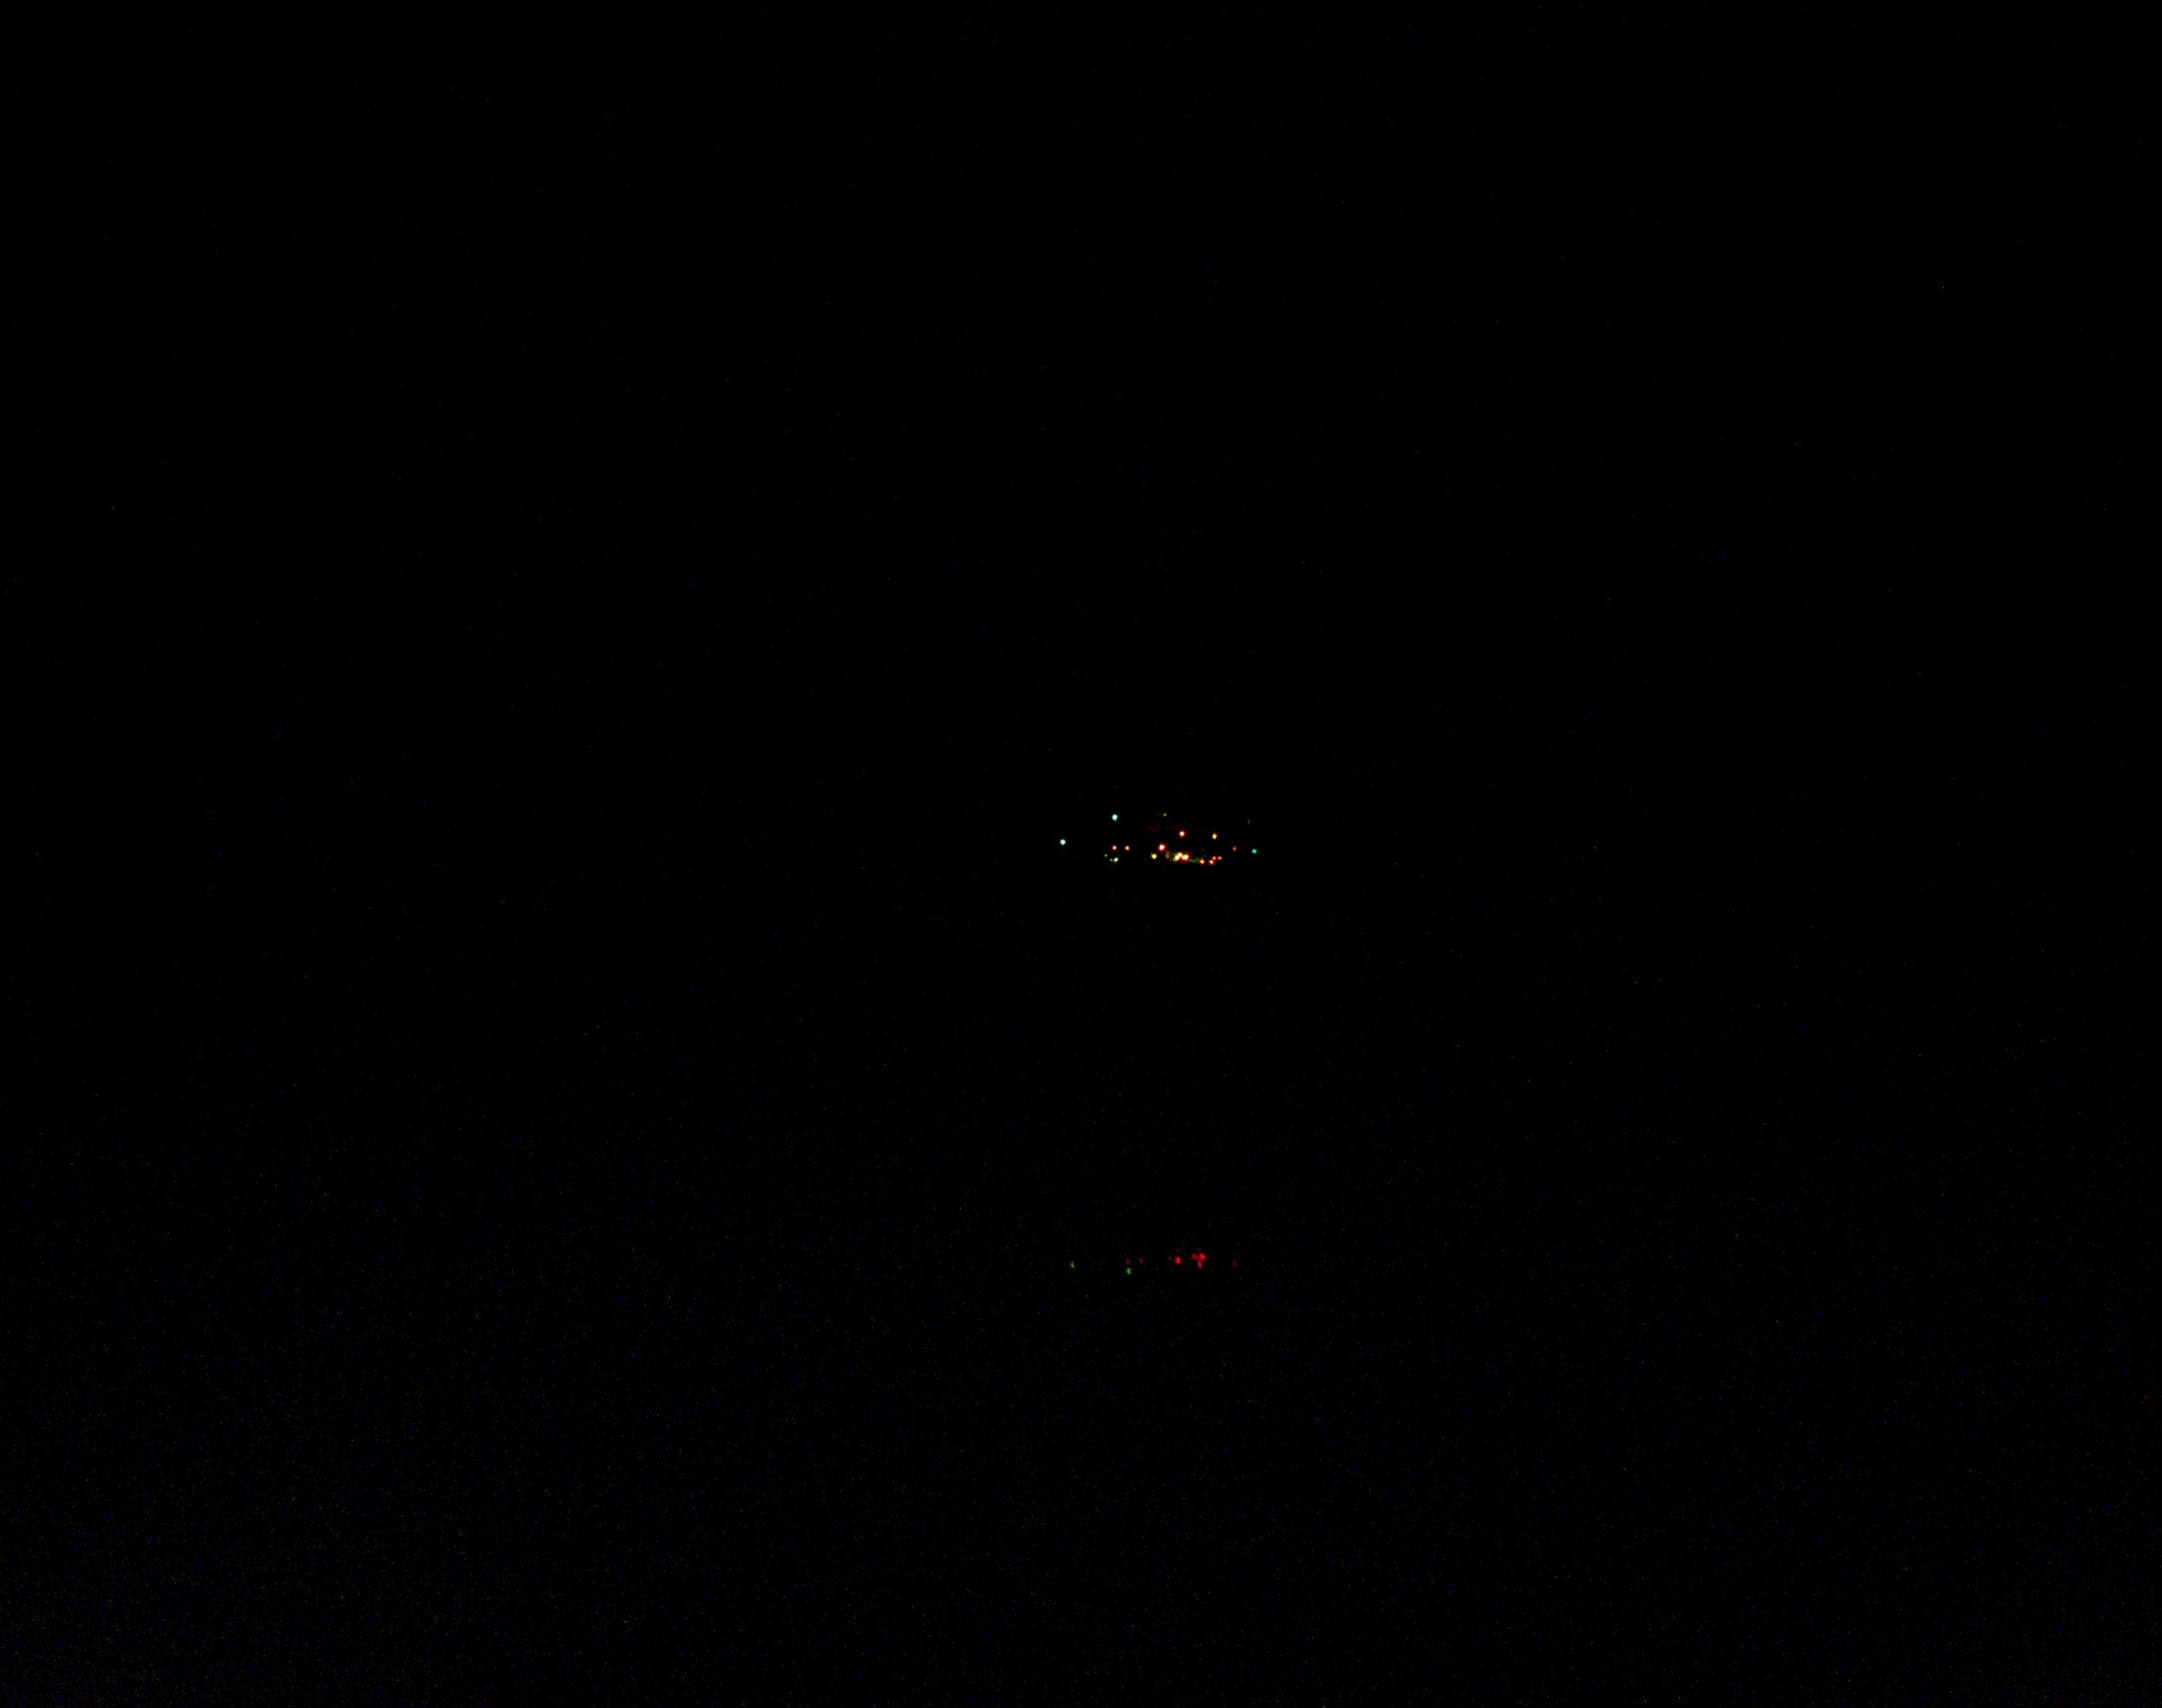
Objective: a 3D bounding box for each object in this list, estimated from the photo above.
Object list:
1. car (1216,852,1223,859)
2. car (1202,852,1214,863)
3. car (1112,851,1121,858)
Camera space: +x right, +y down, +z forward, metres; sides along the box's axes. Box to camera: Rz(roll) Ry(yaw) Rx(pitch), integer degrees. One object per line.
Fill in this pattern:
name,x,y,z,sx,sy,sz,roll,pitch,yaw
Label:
car,33.499,0.307,184.229,1.655,1.467,4.003,-2,1,10
car,18.849,0.503,112.701,1.723,1.438,4.384,-2,1,11
car,6.725,0.038,145.842,1.570,1.336,4.166,-2,0,1
